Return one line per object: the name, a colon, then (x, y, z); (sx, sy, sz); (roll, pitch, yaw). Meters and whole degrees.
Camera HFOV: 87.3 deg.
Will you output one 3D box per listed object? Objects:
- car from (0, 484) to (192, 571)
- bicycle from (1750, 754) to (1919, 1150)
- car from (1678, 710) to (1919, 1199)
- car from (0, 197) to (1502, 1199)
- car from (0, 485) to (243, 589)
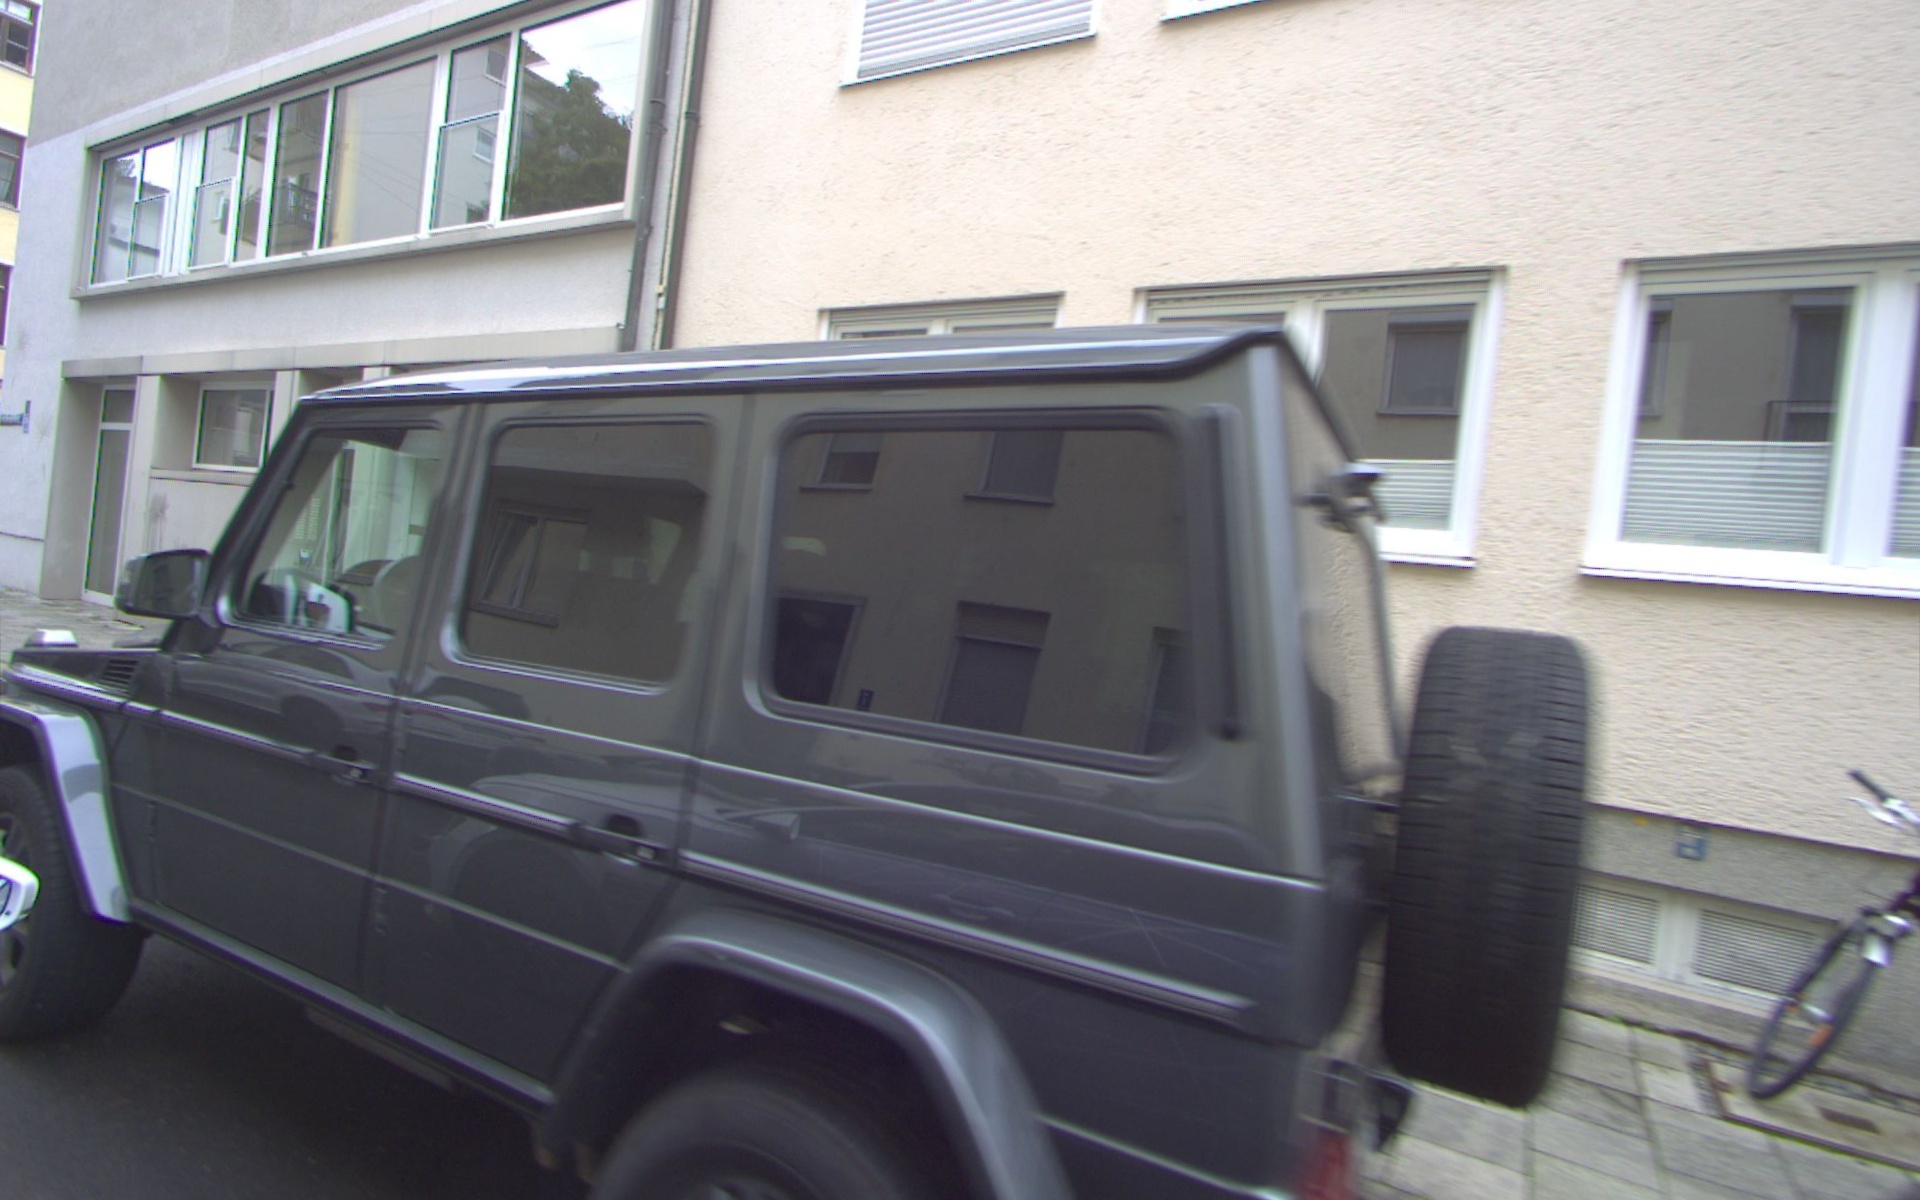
car: (-20.425, -1.672, 22.937); (1.682, 1.512, 4.219); (6, -1, 29)
bicycle: (3.687, 1.225, 3.148); (1.731, 1.121, 0.654); (6, 4, 31)
car: (2.919, 1.092, 0.306); (4.171, 1.503, 1.715); (6, -1, 29)
car: (-1.007, 0.428, 2.853); (4.268, 1.998, 1.756); (7, -2, 29)
car: (-16.050, -1.175, 18.432); (1.965, 1.417, 4.212); (9, 1, 28)
